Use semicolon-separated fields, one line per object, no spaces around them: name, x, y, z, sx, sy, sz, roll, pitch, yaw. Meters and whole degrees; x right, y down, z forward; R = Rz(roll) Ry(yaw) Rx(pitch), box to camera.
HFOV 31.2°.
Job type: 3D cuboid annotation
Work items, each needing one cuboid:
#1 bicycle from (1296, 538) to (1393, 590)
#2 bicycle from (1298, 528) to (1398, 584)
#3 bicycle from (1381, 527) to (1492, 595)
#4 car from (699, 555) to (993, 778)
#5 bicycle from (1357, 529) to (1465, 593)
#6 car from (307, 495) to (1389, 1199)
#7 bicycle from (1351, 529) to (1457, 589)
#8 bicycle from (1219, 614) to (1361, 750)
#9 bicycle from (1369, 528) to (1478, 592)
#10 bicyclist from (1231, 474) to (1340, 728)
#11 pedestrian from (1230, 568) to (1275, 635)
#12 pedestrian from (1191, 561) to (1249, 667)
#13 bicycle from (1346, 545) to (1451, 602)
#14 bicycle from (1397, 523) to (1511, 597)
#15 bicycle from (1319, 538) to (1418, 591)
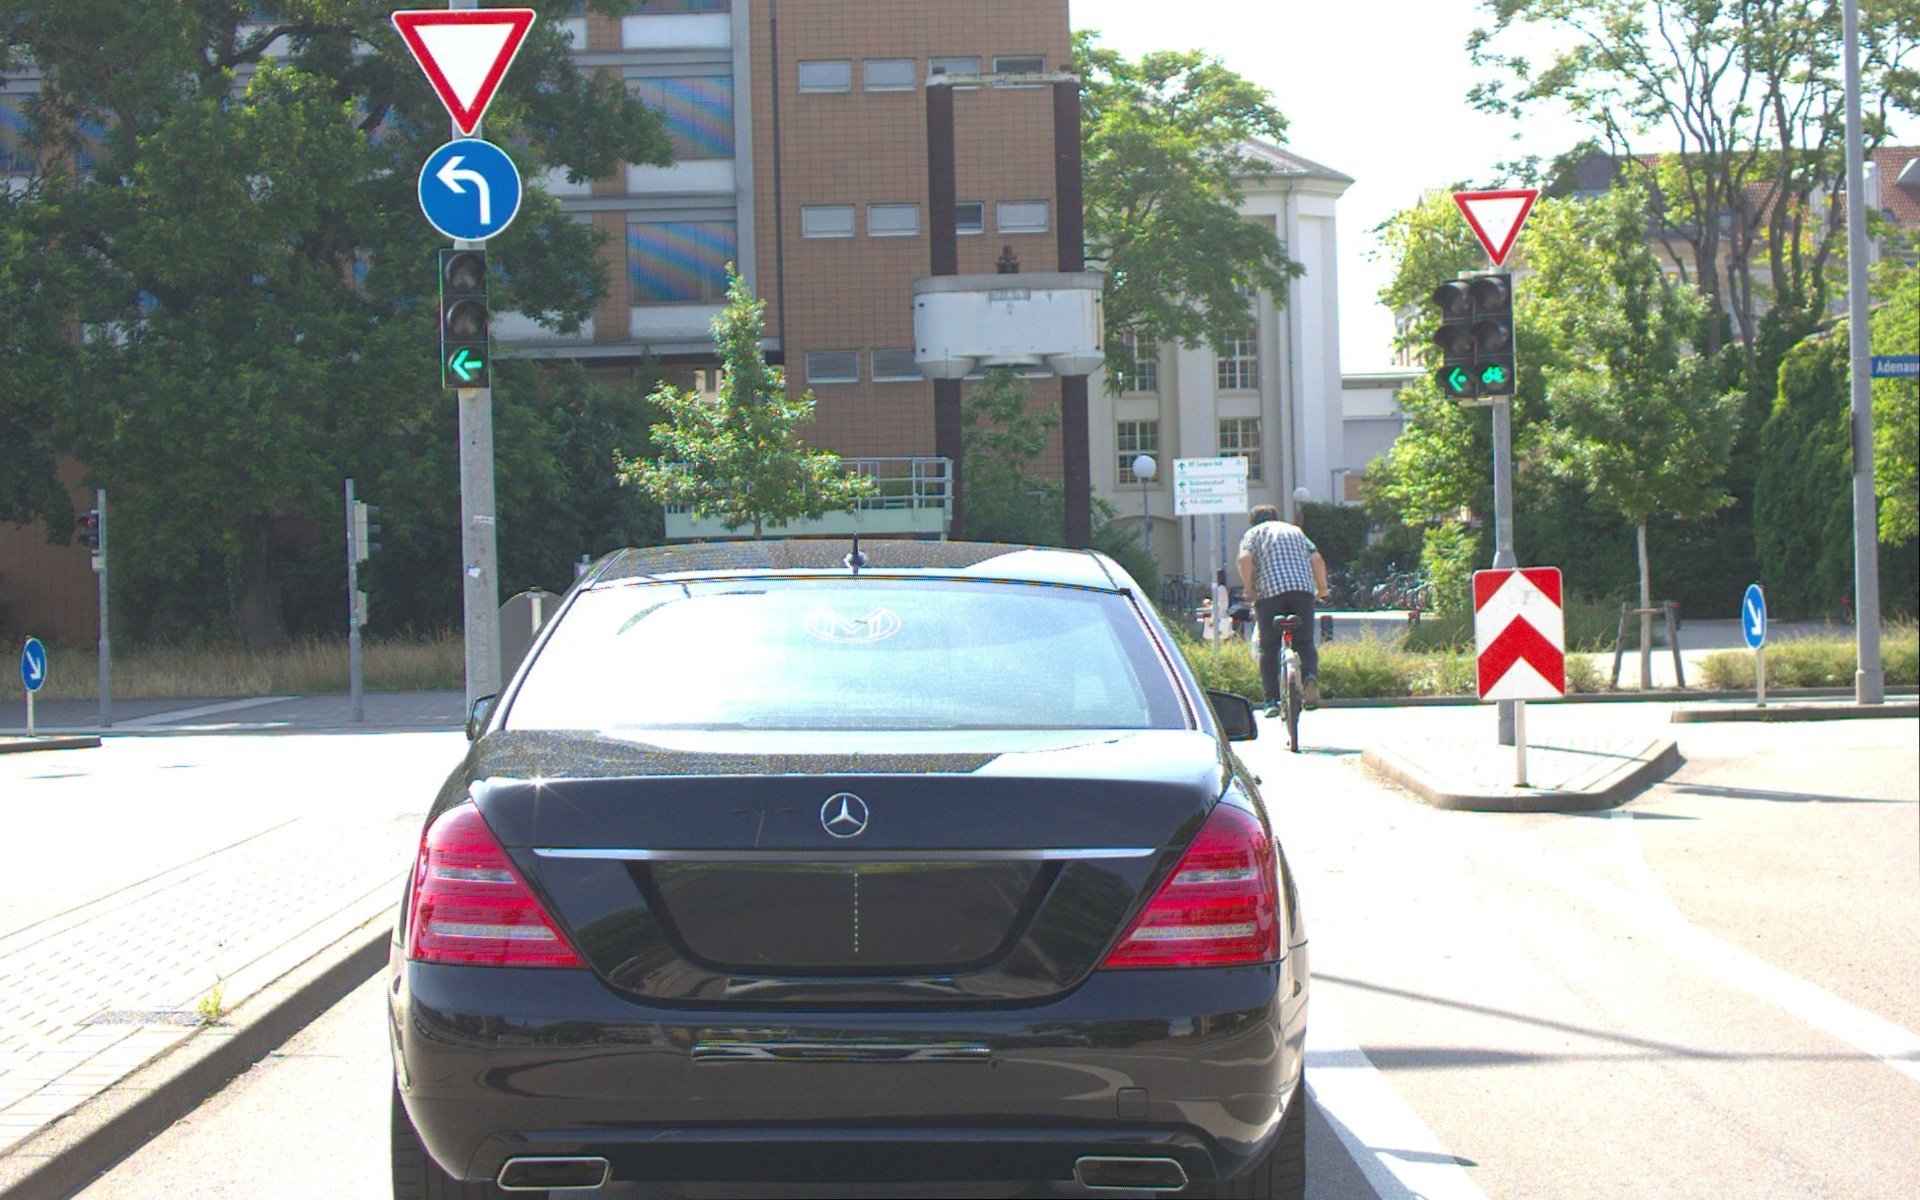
bicycle;11.832;-1.111;105.833;2.823;1.475;0.841;-2;1;0
bicycle;11.442;-1.311;101.464;2.823;1.553;0.842;-2;1;-1
bicycle;12.867;-1.056;92.903;2.823;1.738;0.842;-2;1;-1
car;-0.805;0.439;25.574;1.993;1.503;4.000;1;0;-1
bicycle;12.511;-1.095;95.448;2.823;1.653;0.842;-2;2;-1
car;-0.342;0.569;8.285;1.858;1.525;4.714;0;0;-4
bicycle;12.450;-1.163;96.428;2.823;1.581;0.842;-2;1;-1
bicycle;2.440;0.590;25.642;0.692;0.943;1.958;1;0;-5
bicycle;12.723;-1.094;94.440;2.823;1.643;0.842;-2;1;-1
bicyclist;2.438;0.004;25.812;0.685;1.872;0.860;0;0;-4
pedestrian;5.355;0.030;62.887;0.793;1.209;0.757;1;0;6
pedestrian;3.958;0.212;52.400;0.811;1.574;0.692;-2;0;2
bicycle;12.414;-0.760;97.423;2.823;1.532;0.842;-2;1;-1
bicycle;13.024;-1.059;90.643;2.823;1.830;0.842;-2;1;-1
bicycle;12.314;-1.085;103.667;2.823;1.495;0.842;-2;1;-1
